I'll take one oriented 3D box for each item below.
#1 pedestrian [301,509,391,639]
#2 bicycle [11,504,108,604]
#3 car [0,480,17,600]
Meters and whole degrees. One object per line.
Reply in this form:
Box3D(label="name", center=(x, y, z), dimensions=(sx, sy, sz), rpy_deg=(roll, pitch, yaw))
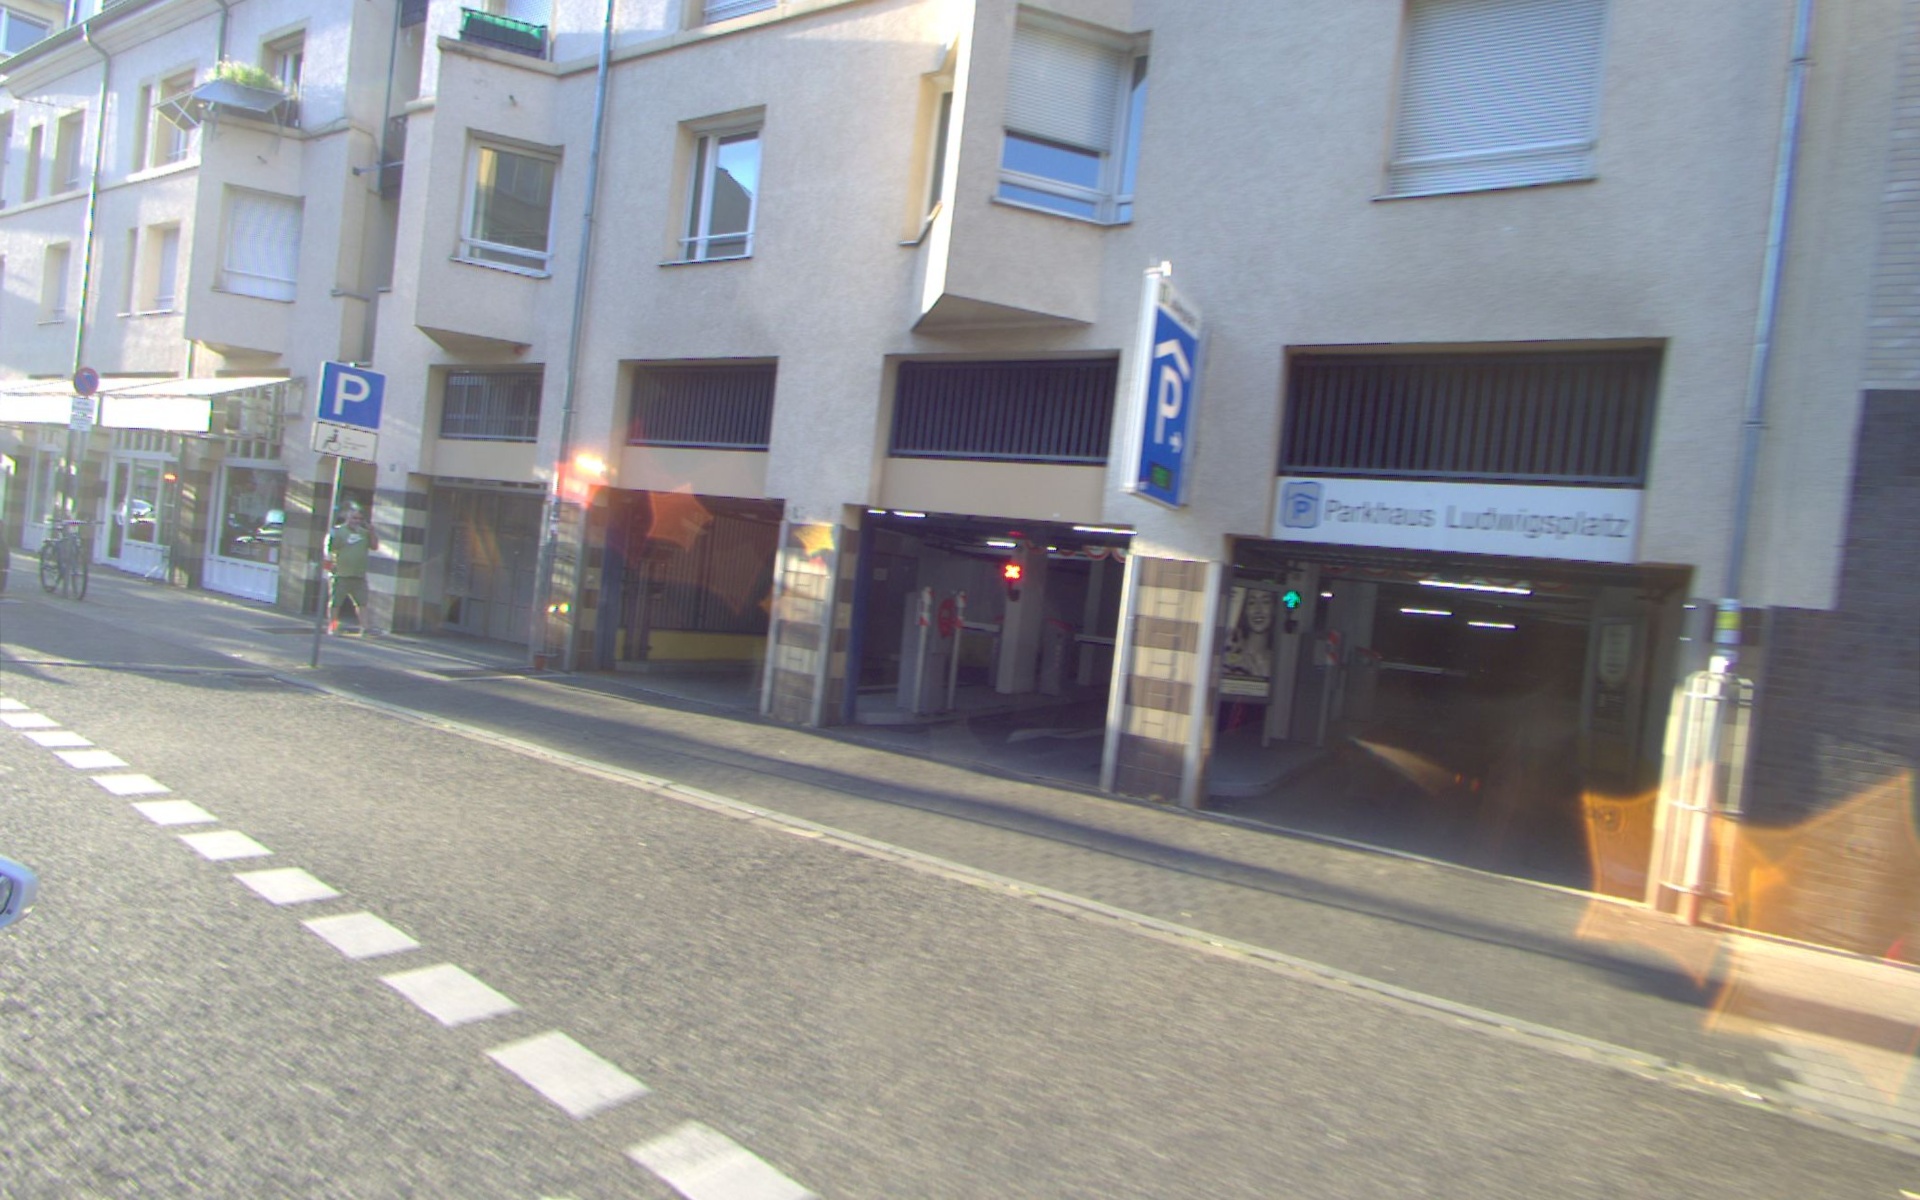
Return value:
Box3D(label="pedestrian", center=(-8.260, -0.337, 13.534), dimensions=(0.597, 1.669, 0.809), rpy_deg=(7, 4, 38))
Box3D(label="bicycle", center=(-12.887, -0.669, 14.382), dimensions=(1.794, 1.250, 0.397), rpy_deg=(7, 2, 29))
Box3D(label="car", center=(-14.159, -0.973, 13.324), dimensions=(2.648, 1.573, 1.635), rpy_deg=(7, 1, 29))
